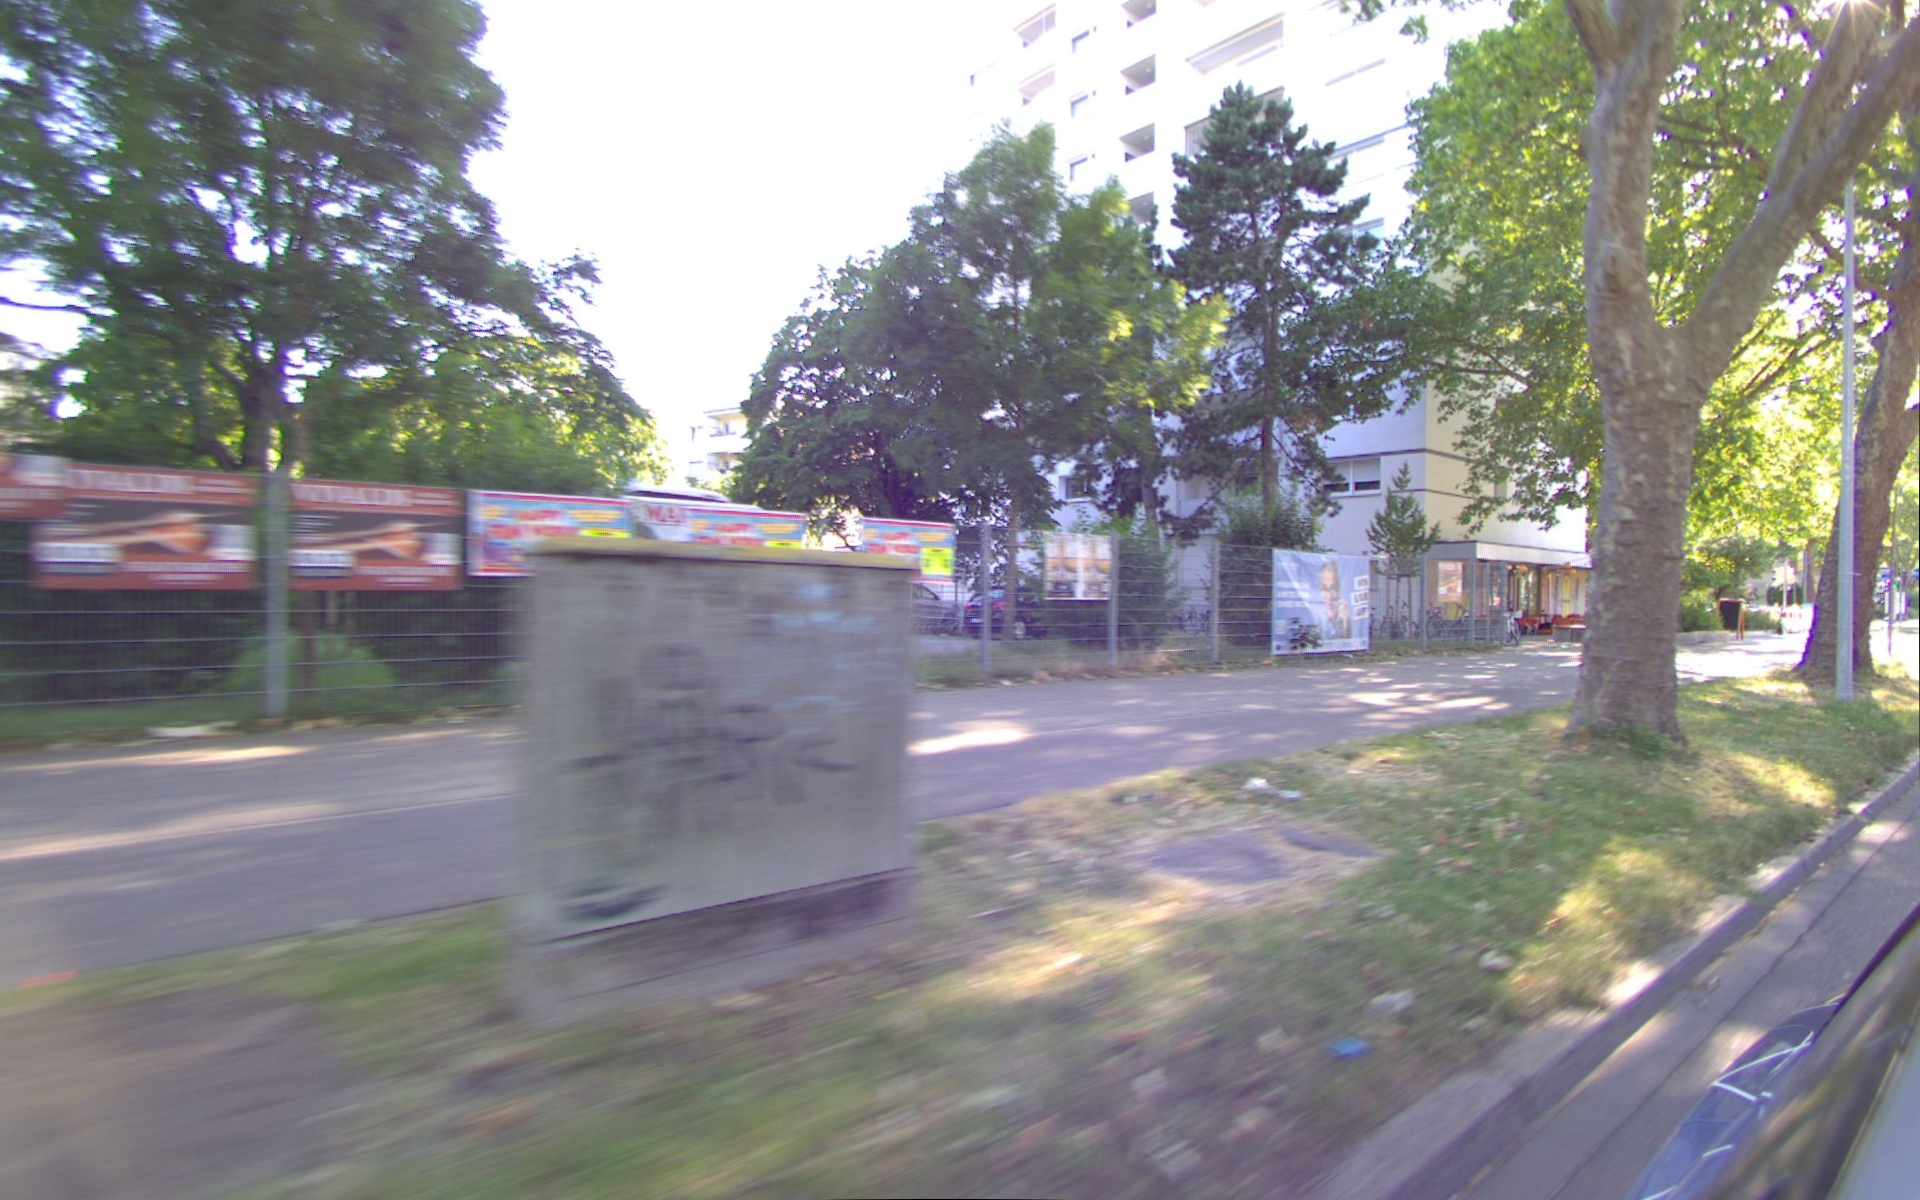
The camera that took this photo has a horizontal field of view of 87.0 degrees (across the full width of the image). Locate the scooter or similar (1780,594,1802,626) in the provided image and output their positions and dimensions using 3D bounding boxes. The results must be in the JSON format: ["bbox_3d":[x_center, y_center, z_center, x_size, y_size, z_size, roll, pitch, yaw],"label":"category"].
[{"bbox_3d":[34.758,0.410,42.347,1.269,1.273,0.561,-1,2,-45],"label":"scooter or similar"}]

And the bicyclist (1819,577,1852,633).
[{"bbox_3d":[25.038,0.135,28.940,0.845,1.570,0.604,0,1,-42],"label":"bicyclist"}]

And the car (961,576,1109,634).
[{"bbox_3d":[2.125,0.134,28.106,3.935,1.471,1.994,0,-1,-45],"label":"car"}]

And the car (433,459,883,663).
[{"bbox_3d":[-4.308,-0.490,15.288,6.232,2.531,1.998,-1,-1,-39],"label":"car"}]

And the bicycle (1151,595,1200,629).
[{"bbox_3d":[7.679,0.429,36.061,1.789,1.193,0.790,0,-1,-41],"label":"bicycle"}]

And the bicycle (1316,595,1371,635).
[{"bbox_3d":[11.722,0.450,30.923,1.789,1.193,0.790,0,-1,-41],"label":"bicycle"}]

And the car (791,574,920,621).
[{"bbox_3d":[-3.458,-0.075,33.881,3.935,1.471,1.994,0,-1,-45],"label":"car"}]

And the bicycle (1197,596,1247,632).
[{"bbox_3d":[8.950,0.463,34.541,1.789,1.193,0.790,0,-1,-41],"label":"bicycle"}]

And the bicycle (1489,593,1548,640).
[{"bbox_3d":[14.965,0.428,27.092,1.789,1.193,0.790,0,-1,-41],"label":"bicycle"}]

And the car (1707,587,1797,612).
[{"bbox_3d":[54.765,-0.023,70.068,4.536,1.661,1.917,-1,-1,28],"label":"car"}]

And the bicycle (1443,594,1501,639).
[{"bbox_3d":[14.259,0.451,28.167,1.789,1.193,0.790,0,-1,-41],"label":"bicycle"}]

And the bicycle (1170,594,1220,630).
[{"bbox_3d":[8.233,0.412,35.372,1.789,1.193,0.790,0,-1,-41],"label":"bicycle"}]

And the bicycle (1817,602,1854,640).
[{"bbox_3d":[25.070,0.575,28.975,1.736,1.039,0.604,0,1,-42],"label":"bicycle"}]

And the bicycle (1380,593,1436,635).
[{"bbox_3d":[13.113,0.411,29.609,1.789,1.193,0.790,0,-1,-41],"label":"bicycle"}]

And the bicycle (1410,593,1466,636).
[{"bbox_3d":[13.672,0.394,28.922,1.789,1.193,0.790,0,-1,-41],"label":"bicycle"}]

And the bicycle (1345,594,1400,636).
[{"bbox_3d":[12.305,0.432,30.169,1.789,1.193,0.790,0,-1,-41],"label":"bicycle"}]

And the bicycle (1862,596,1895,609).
[{"bbox_3d":[71.603,0.193,78.879,1.804,1.067,0.531,0,-1,24],"label":"bicycle"}]

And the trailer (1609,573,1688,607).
[{"bbox_3d":[49.500,-0.697,72.879,4.473,2.403,1.895,0,0,28],"label":"trailer"}]

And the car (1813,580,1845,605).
[{"bbox_3d":[99.562,-0.888,115.906,4.632,2.777,1.997,0,-1,-40],"label":"car"}]

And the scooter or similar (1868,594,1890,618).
[{"bbox_3d":[51.401,0.328,56.583,1.265,1.273,0.563,0,2,-33],"label":"scooter or similar"}]

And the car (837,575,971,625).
[{"bbox_3d":[-1.744,0.011,32.211,3.935,1.471,1.994,0,-1,-45],"label":"car"}]
